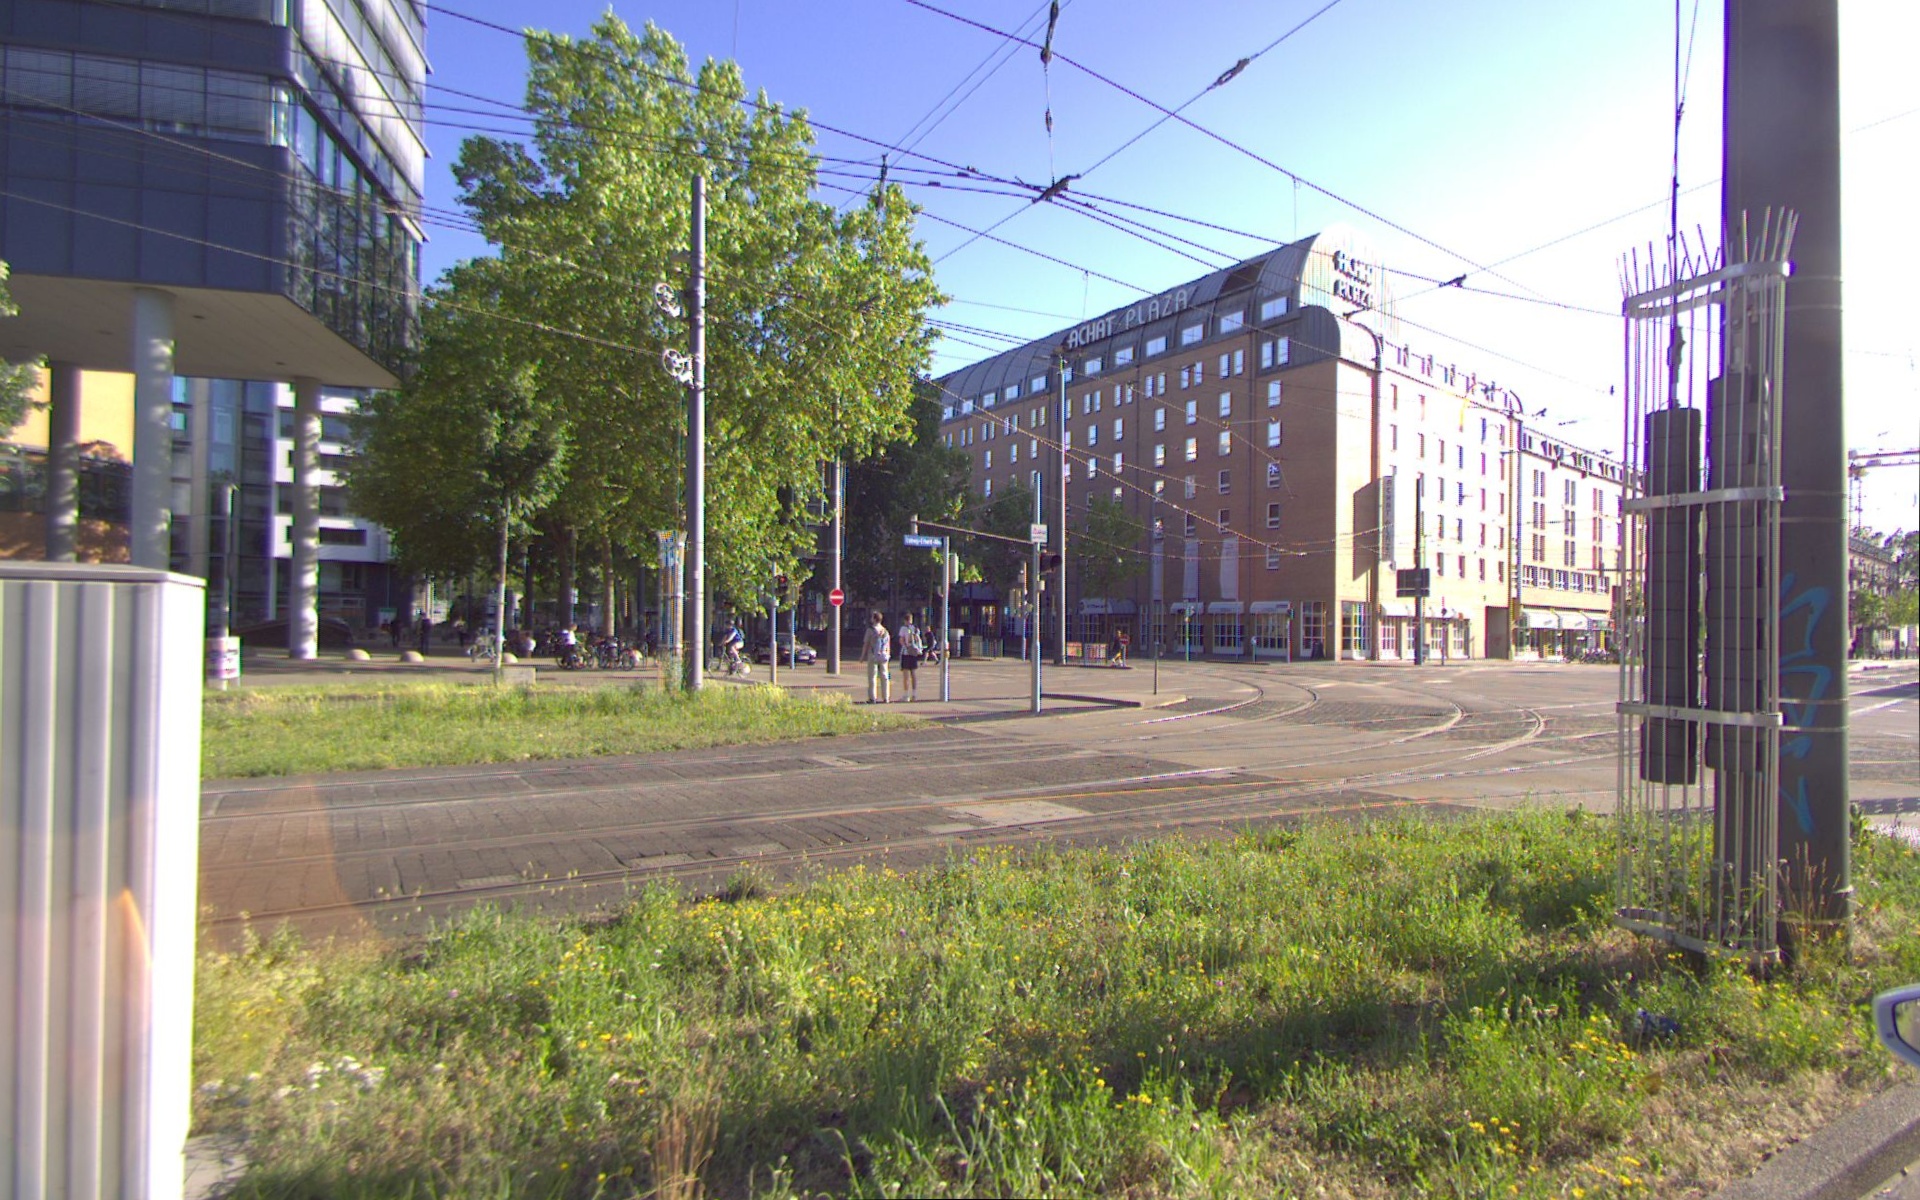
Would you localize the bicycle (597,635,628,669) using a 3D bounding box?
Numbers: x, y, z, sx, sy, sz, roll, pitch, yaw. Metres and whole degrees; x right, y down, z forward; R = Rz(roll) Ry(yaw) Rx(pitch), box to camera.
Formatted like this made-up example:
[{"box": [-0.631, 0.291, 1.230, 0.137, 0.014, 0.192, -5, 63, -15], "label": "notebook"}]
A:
[{"box": [-12.241, 1.801, 35.350, 0.592, 1.143, 2.348, 1, -1, -30], "label": "bicycle"}]

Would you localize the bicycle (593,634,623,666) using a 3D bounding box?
[{"box": [-13.185, 1.862, 37.587, 0.592, 1.143, 2.348, 1, -1, -30], "label": "bicycle"}]

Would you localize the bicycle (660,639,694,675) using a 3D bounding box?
[{"box": [-9.526, 1.894, 33.755, 0.592, 1.143, 2.349, 1, -1, -29], "label": "bicycle"}]

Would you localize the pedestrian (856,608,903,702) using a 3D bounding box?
[{"box": [-1.680, 1.131, 20.912, 0.691, 1.894, 0.728, 2, -1, -31], "label": "pedestrian"}]

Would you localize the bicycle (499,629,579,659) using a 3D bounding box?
[{"box": [-20.013, 2.070, 47.821, 1.021, 1.371, 3.342, 0, -2, 44], "label": "bicycle"}]

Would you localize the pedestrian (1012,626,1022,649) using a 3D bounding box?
[{"box": [4.111, 2.699, 72.454, 0.599, 1.702, 0.482, 0, -1, -32], "label": "pedestrian"}]

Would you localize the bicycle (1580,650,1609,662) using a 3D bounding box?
[{"box": [52.877, 4.642, 83.750, 0.477, 0.933, 2.024, 1, -2, -29], "label": "bicycle"}]

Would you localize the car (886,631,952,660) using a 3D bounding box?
[{"box": [-2.153, 2.307, 51.597, 1.653, 1.433, 3.965, 2, -3, -32], "label": "car"}]

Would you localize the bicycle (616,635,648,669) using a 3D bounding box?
[{"box": [-11.641, 1.817, 35.631, 0.592, 1.143, 2.348, 1, -1, -30], "label": "bicycle"}]

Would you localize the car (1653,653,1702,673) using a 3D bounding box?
[{"box": [47.755, 4.181, 66.817, 4.199, 1.285, 1.822, 3, -4, -43], "label": "car"}]

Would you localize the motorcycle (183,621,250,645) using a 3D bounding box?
[{"box": [-34.201, 1.539, 46.260, 2.308, 1.072, 0.828, 2, -1, -22], "label": "motorcycle"}]

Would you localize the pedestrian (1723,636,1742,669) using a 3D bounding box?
[{"box": [41.803, 2.844, 54.367, 0.589, 1.750, 0.715, 2, -2, -39], "label": "pedestrian"}]

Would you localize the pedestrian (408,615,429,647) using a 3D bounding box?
[{"box": [-28.777, 1.647, 53.395, 0.685, 1.644, 0.734, 1, -1, 1], "label": "pedestrian"}]

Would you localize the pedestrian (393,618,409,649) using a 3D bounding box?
[{"box": [-31.551, 1.876, 56.714, 0.691, 1.737, 0.727, 2, -1, -33], "label": "pedestrian"}]

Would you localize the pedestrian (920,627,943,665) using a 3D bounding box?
[{"box": [-1.307, 2.086, 45.923, 0.821, 1.702, 0.711, 0, -1, -29], "label": "pedestrian"}]

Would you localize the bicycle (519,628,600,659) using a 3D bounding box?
[{"box": [-18.520, 2.010, 46.490, 1.021, 1.371, 3.342, 0, -2, 44], "label": "bicycle"}]

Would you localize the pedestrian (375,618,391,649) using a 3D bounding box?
[{"box": [-32.200, 1.866, 56.079, 0.691, 1.737, 0.727, 2, -1, -33], "label": "pedestrian"}]

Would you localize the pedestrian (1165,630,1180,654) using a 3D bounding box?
[{"box": [15.636, 3.074, 73.847, 0.734, 1.688, 0.745, 1, -1, -38], "label": "pedestrian"}]

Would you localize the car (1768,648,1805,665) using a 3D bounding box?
[{"box": [71.103, 4.852, 86.370, 4.267, 1.467, 1.823, 3, -4, -42], "label": "car"}]

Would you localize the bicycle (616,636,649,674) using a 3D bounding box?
[{"box": [-10.736, 1.784, 32.924, 0.592, 1.143, 2.349, 1, -1, -29], "label": "bicycle"}]

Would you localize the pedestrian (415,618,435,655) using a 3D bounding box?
[{"box": [-24.333, 1.651, 45.691, 0.691, 1.674, 0.700, 2, -1, -32], "label": "pedestrian"}]

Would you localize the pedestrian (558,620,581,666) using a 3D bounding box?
[{"box": [-14.728, 1.624, 37.876, 0.819, 1.702, 0.712, 0, -1, -23], "label": "pedestrian"}]

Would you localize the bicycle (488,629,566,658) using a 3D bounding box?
[{"box": [-21.062, 2.117, 48.893, 1.021, 1.371, 3.342, 0, -2, 44], "label": "bicycle"}]

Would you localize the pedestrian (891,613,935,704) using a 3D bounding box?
[{"box": [-1.009, 1.237, 21.552, 0.666, 1.894, 0.727, 2, -2, -32], "label": "pedestrian"}]

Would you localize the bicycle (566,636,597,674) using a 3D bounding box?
[{"box": [-12.282, 1.753, 32.589, 0.592, 1.143, 2.349, 1, -1, -29], "label": "bicycle"}]

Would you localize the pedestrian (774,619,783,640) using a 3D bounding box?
[{"box": [-14.417, 2.345, 79.787, 0.557, 1.594, 0.636, 2, 0, -20], "label": "pedestrian"}]

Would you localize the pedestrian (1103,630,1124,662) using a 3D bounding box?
[{"box": [8.116, 2.429, 53.140, 0.824, 1.702, 0.708, 0, -1, -38], "label": "pedestrian"}]

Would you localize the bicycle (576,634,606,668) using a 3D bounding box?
[{"box": [-13.048, 1.784, 35.446, 0.592, 1.143, 2.348, 1, -1, -30], "label": "bicycle"}]

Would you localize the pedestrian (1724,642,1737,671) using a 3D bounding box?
[{"box": [43.053, 3.156, 56.129, 0.573, 1.598, 0.644, 0, -2, 36], "label": "pedestrian"}]

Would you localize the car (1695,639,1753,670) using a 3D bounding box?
[{"box": [47.530, 3.359, 62.479, 4.071, 1.859, 1.826, 2, -4, -38], "label": "car"}]

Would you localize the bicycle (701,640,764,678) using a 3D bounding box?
[{"box": [-7.109, 1.821, 31.419, 0.684, 1.152, 1.840, -1, -2, 44], "label": "bicycle"}]

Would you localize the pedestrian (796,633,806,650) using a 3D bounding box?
[{"box": [-11.306, 2.925, 71.566, 0.583, 1.179, 0.742, 2, -1, -17], "label": "pedestrian"}]

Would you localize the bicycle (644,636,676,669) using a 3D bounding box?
[{"box": [-11.000, 1.898, 36.749, 0.592, 1.143, 2.348, 1, -1, -30], "label": "bicycle"}]

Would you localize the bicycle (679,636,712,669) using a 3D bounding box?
[{"box": [-9.815, 1.929, 37.204, 0.592, 1.143, 2.348, 1, -1, -30], "label": "bicycle"}]

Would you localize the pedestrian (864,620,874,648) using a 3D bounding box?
[{"box": [-6.144, 2.314, 67.683, 0.581, 1.853, 0.745, 1, -1, -1], "label": "pedestrian"}]

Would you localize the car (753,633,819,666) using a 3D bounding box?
[{"box": [-7.968, 2.217, 45.754, 1.652, 1.425, 3.968, 2, -3, -30], "label": "car"}]

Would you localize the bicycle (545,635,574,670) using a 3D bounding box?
[{"box": [-13.971, 1.804, 34.971, 0.592, 1.143, 2.348, 1, -1, -30], "label": "bicycle"}]

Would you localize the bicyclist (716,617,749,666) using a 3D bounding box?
[{"box": [-7.116, 1.290, 31.414, 0.749, 1.480, 0.685, 2, -2, -45], "label": "bicyclist"}]
